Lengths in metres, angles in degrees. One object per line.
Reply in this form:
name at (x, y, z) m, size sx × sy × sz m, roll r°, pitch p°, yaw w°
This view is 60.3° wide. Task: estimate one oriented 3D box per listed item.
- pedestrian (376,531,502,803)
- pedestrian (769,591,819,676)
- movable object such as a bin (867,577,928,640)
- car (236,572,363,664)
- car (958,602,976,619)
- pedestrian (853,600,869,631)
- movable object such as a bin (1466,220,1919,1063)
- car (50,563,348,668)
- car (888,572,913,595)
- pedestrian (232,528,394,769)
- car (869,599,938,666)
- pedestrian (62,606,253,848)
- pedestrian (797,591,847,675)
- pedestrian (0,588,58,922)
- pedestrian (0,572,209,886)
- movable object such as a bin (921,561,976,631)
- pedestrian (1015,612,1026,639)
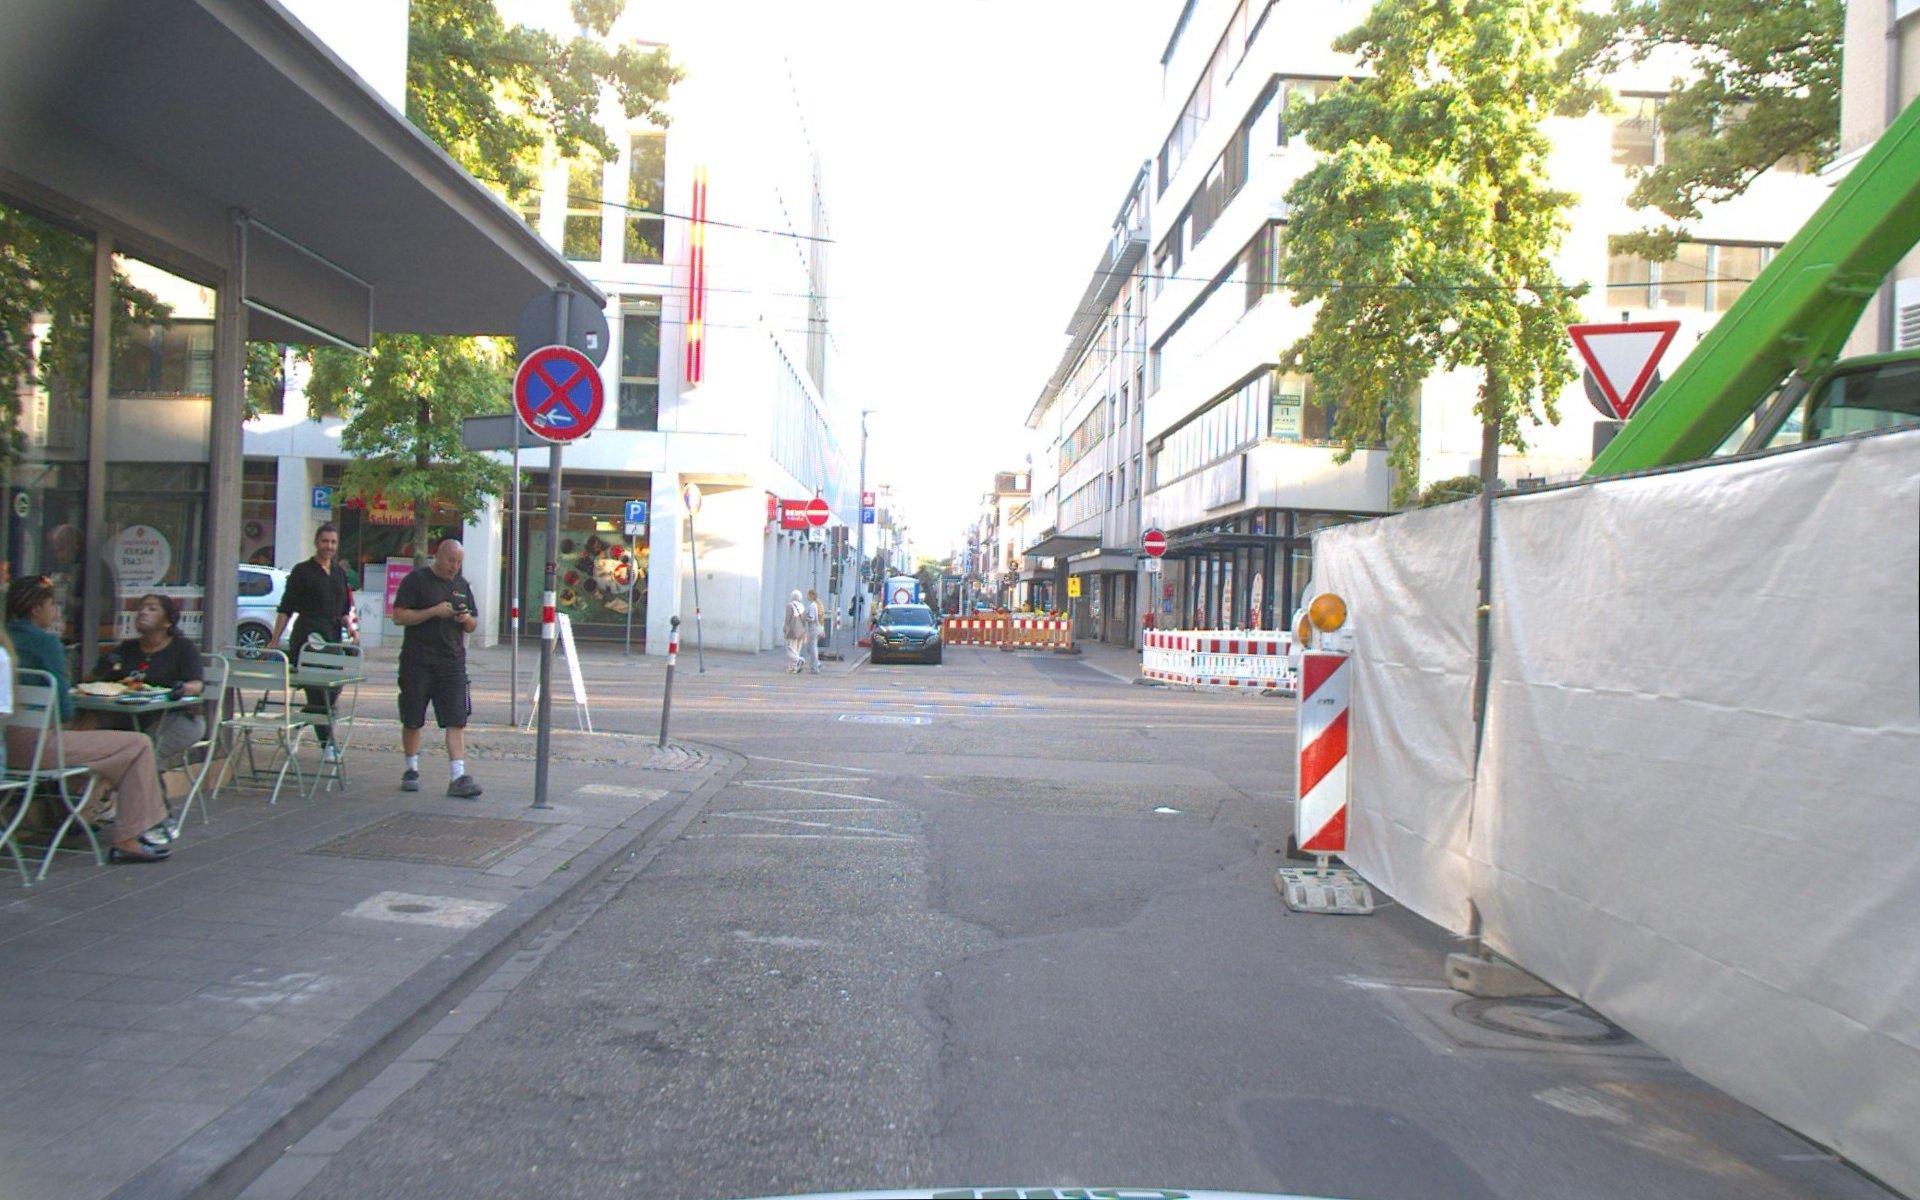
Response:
pedestrian at (-3.374, 0.430, 10.748) m, size 0.674 × 1.697 × 0.504 m, roll 3°, pitch -1°, yaw -16°
pedestrian at (-3.294, 0.655, 32.814) m, size 0.605 × 1.656 × 0.861 m, roll 1°, pitch 0°, yaw -38°
movable object such as a bin at (-2.117, 0.285, 56.887) m, size 1.953 × 2.049 × 3.999 m, roll 1°, pitch 0°, yaw -1°
car at (-12.984, 0.318, 32.379) m, size 1.922 × 1.531 × 3.963 m, roll 1°, pitch 2°, yaw -28°
car at (0.765, 1.113, 181.291) m, size 1.953 × 1.808 × 3.999 m, roll 1°, pitch 0°, yaw -1°
pedestrian at (-4.801, 0.750, 80.234) m, size 0.701 × 1.490 × 0.525 m, roll 1°, pitch 0°, yaw 1°
movable object such as a bin at (4.418, 0.151, 7.927) m, size 2.552 × 2.888 × 4.449 m, roll 1°, pitch 0°, yaw -1°
car at (-12.934, 0.296, 28.337) m, size 4.187 × 1.621 × 1.826 m, roll 2°, pitch -2°, yaw -5°
car at (-4.899, -1.362, 136.565) m, size 1.953 × 1.808 × 3.999 m, roll 1°, pitch 0°, yaw -1°
pedestrian at (-4.777, 0.343, 12.202) m, size 0.791 × 1.697 × 0.889 m, roll 3°, pitch -1°, yaw -40°
car at (-1.456, 0.790, 41.659) m, size 1.597 × 1.577 × 3.139 m, roll 1°, pitch 0°, yaw -4°
pedestrian at (-4.045, 0.618, 8.379) m, size 0.561 × 1.133 × 0.713 m, roll 3°, pitch 0°, yaw -1°
pedestrian at (-2.775, 0.661, 33.218) m, size 0.605 × 1.656 × 0.861 m, roll 1°, pitch 0°, yaw -38°
pedestrian at (-3.999, 0.597, 6.400) m, size 0.561 × 1.297 × 0.713 m, roll 3°, pitch 0°, yaw -1°
pedestrian at (-3.884, 0.545, 7.371) m, size 0.688 × 1.297 × 0.713 m, roll 3°, pitch 0°, yaw -1°
movable object such as a bin at (-0.506, -0.156, 67.066) m, size 2.113 × 2.710 × 4.571 m, roll 1°, pitch 0°, yaw -1°
pedestrian at (3.425, 1.429, 93.792) m, size 0.513 × 1.490 × 0.719 m, roll 2°, pitch 0°, yaw 7°
